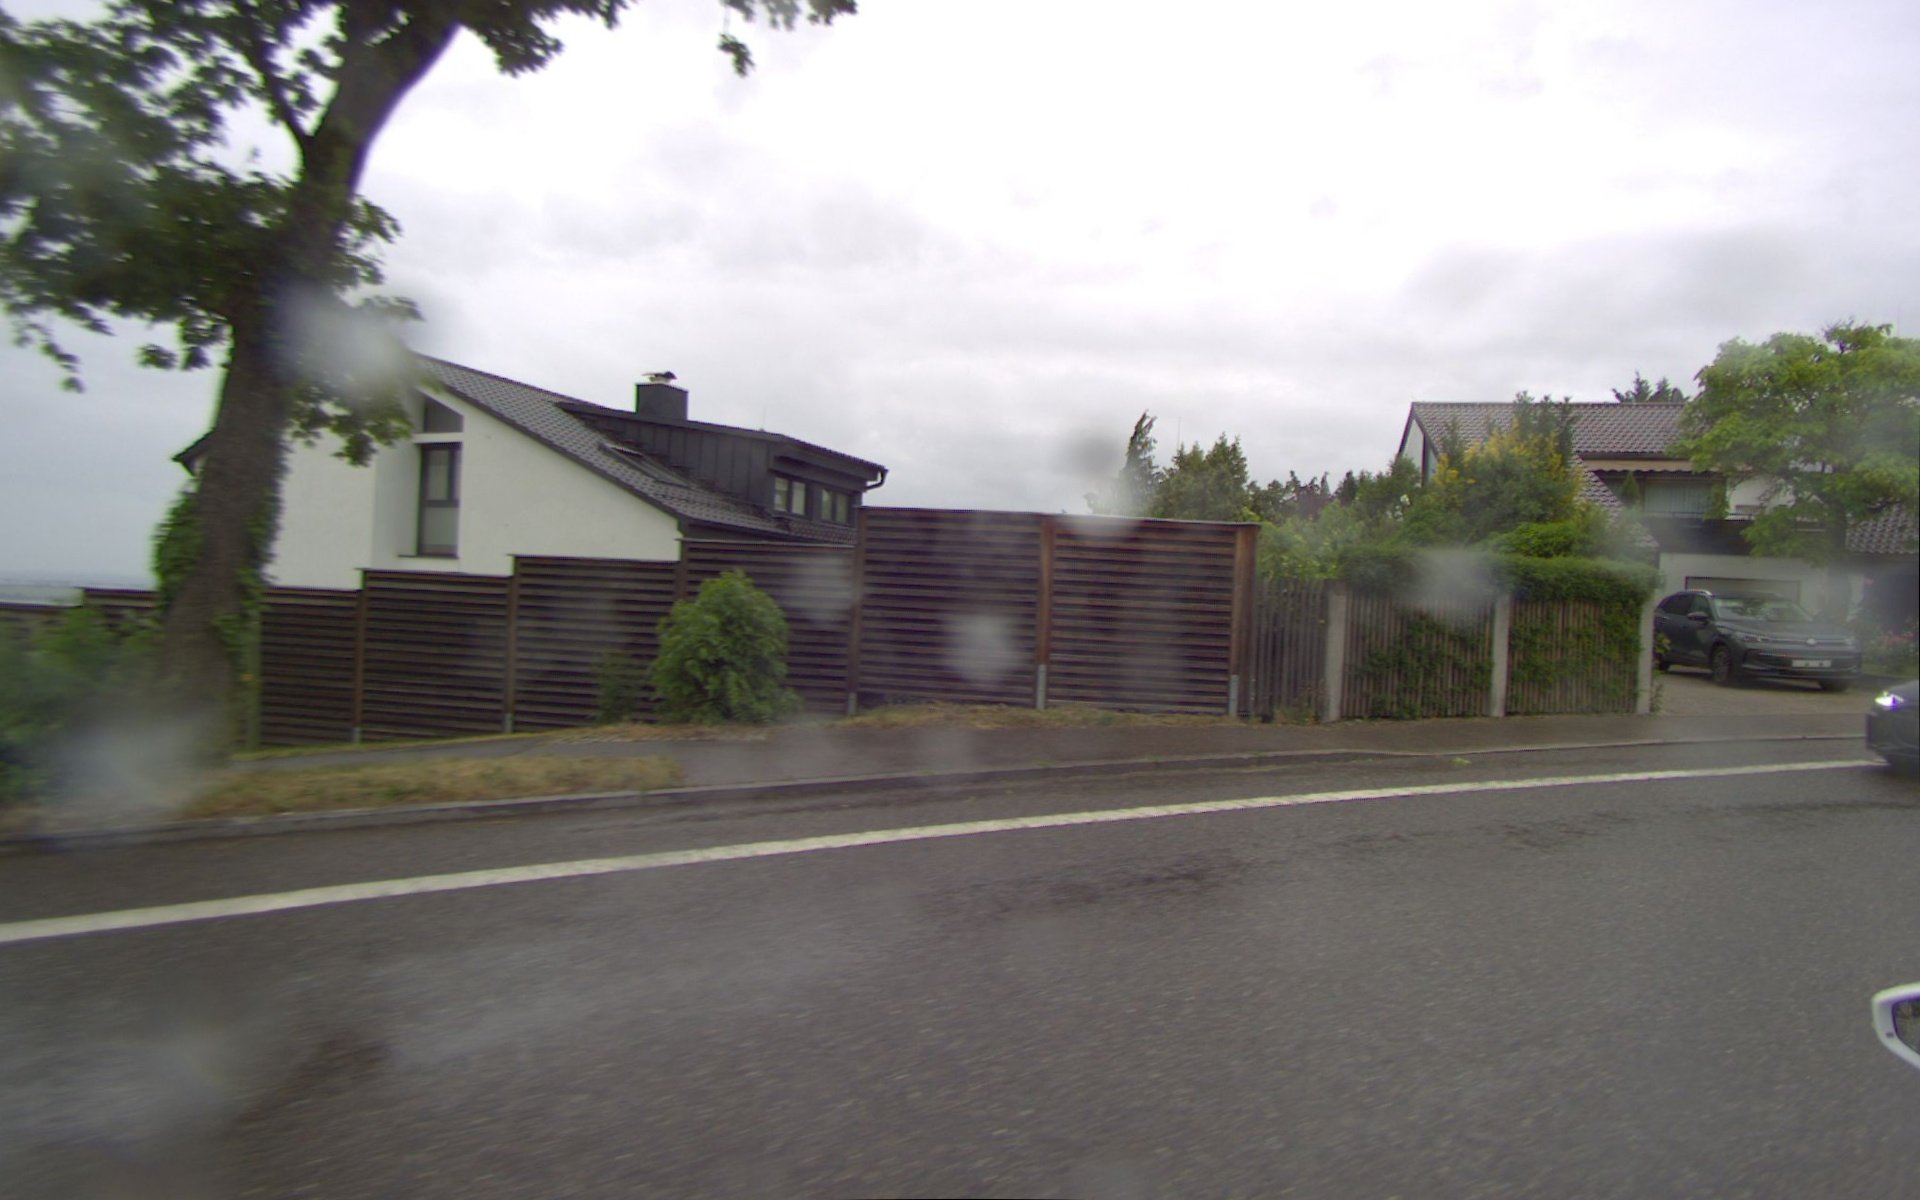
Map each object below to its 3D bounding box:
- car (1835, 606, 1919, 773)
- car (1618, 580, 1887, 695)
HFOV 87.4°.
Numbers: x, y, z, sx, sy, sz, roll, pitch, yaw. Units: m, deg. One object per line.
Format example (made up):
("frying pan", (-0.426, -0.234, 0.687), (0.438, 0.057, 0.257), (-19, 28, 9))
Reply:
("car", (10.405, 0.848, 9.228), (4.102, 1.439, 1.775), (1, 1, -20))
("car", (14.049, 0.563, 18.166), (1.973, 1.654, 4.001), (3, 3, 8))
